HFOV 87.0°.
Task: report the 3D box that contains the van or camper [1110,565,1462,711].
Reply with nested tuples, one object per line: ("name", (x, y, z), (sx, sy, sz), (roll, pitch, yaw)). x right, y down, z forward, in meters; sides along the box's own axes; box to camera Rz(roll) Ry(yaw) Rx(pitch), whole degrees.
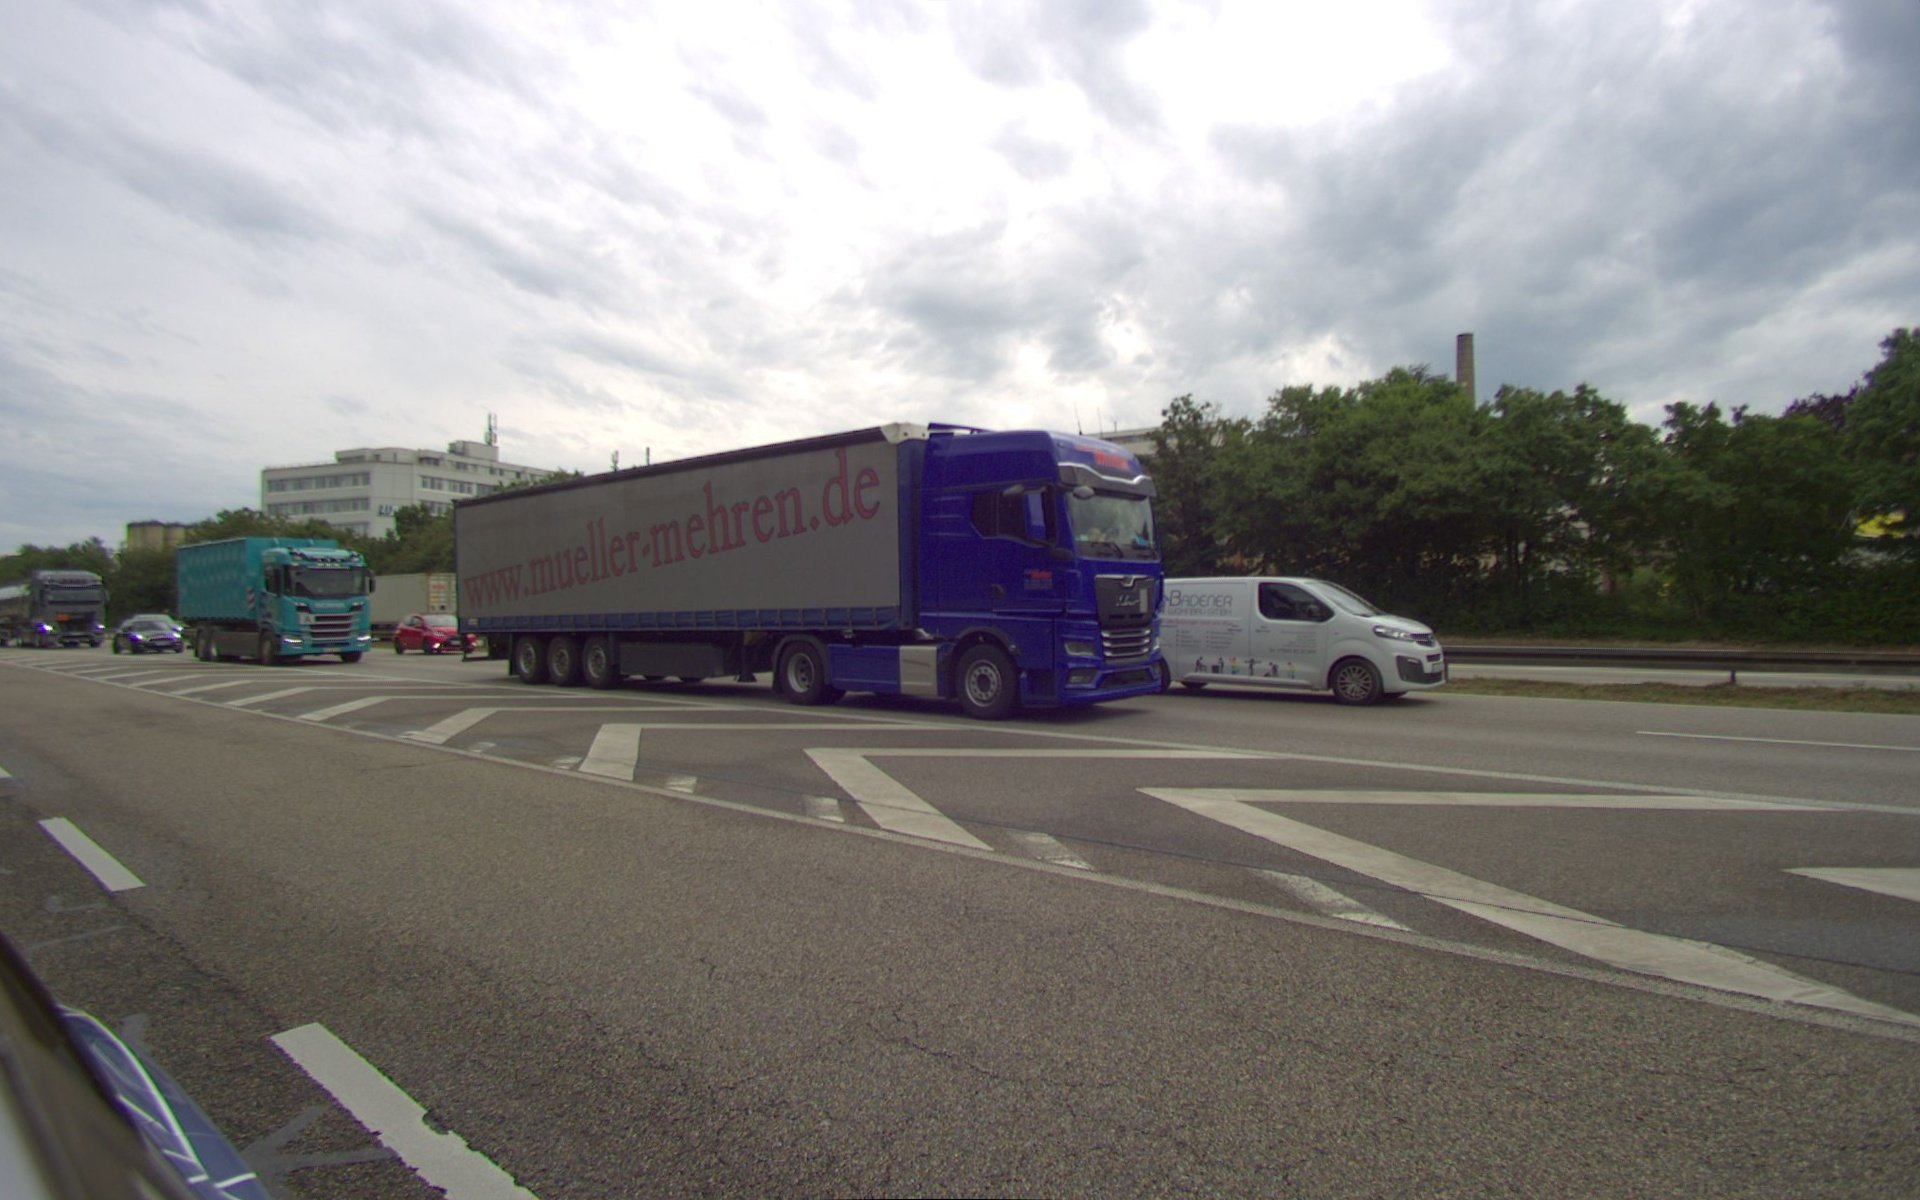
("van or camper", (4.923, 0.556, 15.734), (4.846, 1.935, 1.901), (-1, -1, 39))

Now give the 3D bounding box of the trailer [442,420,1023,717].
("trailer", (-5.260, -0.292, 19.069), (13.904, 4.005, 2.647), (-1, -1, 39))

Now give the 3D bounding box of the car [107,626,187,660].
("car", (-33.976, 1.770, 42.267), (3.994, 1.332, 1.736), (-1, -1, 38))

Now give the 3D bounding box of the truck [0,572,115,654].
("truck", (-49.310, 0.754, 54.204), (13.121, 3.955, 3.289), (-1, -1, 37))

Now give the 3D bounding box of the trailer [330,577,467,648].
("trailer", (-34.788, 0.845, 62.343), (13.055, 4.060, 2.375), (-1, -1, 37))

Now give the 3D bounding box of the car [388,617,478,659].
("car", (-19.019, 1.335, 36.485), (3.445, 1.429, 1.724), (-1, -1, 41))

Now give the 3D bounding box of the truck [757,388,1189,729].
("truck", (0.004, -0.434, 14.756), (5.921, 3.991, 2.642), (-1, -1, 39))

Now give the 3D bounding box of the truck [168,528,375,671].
("truck", (-22.456, 0.083, 32.702), (10.112, 4.031, 2.667), (-1, -1, 38))

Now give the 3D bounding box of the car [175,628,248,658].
("car", (-37.306, 2.116, 50.406), (4.049, 1.444, 1.875), (-1, -1, 37))

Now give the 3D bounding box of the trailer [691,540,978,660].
("trailer", (-5.416, 0.131, 39.506), (13.774, 4.012, 2.567), (-1, -1, 41))
